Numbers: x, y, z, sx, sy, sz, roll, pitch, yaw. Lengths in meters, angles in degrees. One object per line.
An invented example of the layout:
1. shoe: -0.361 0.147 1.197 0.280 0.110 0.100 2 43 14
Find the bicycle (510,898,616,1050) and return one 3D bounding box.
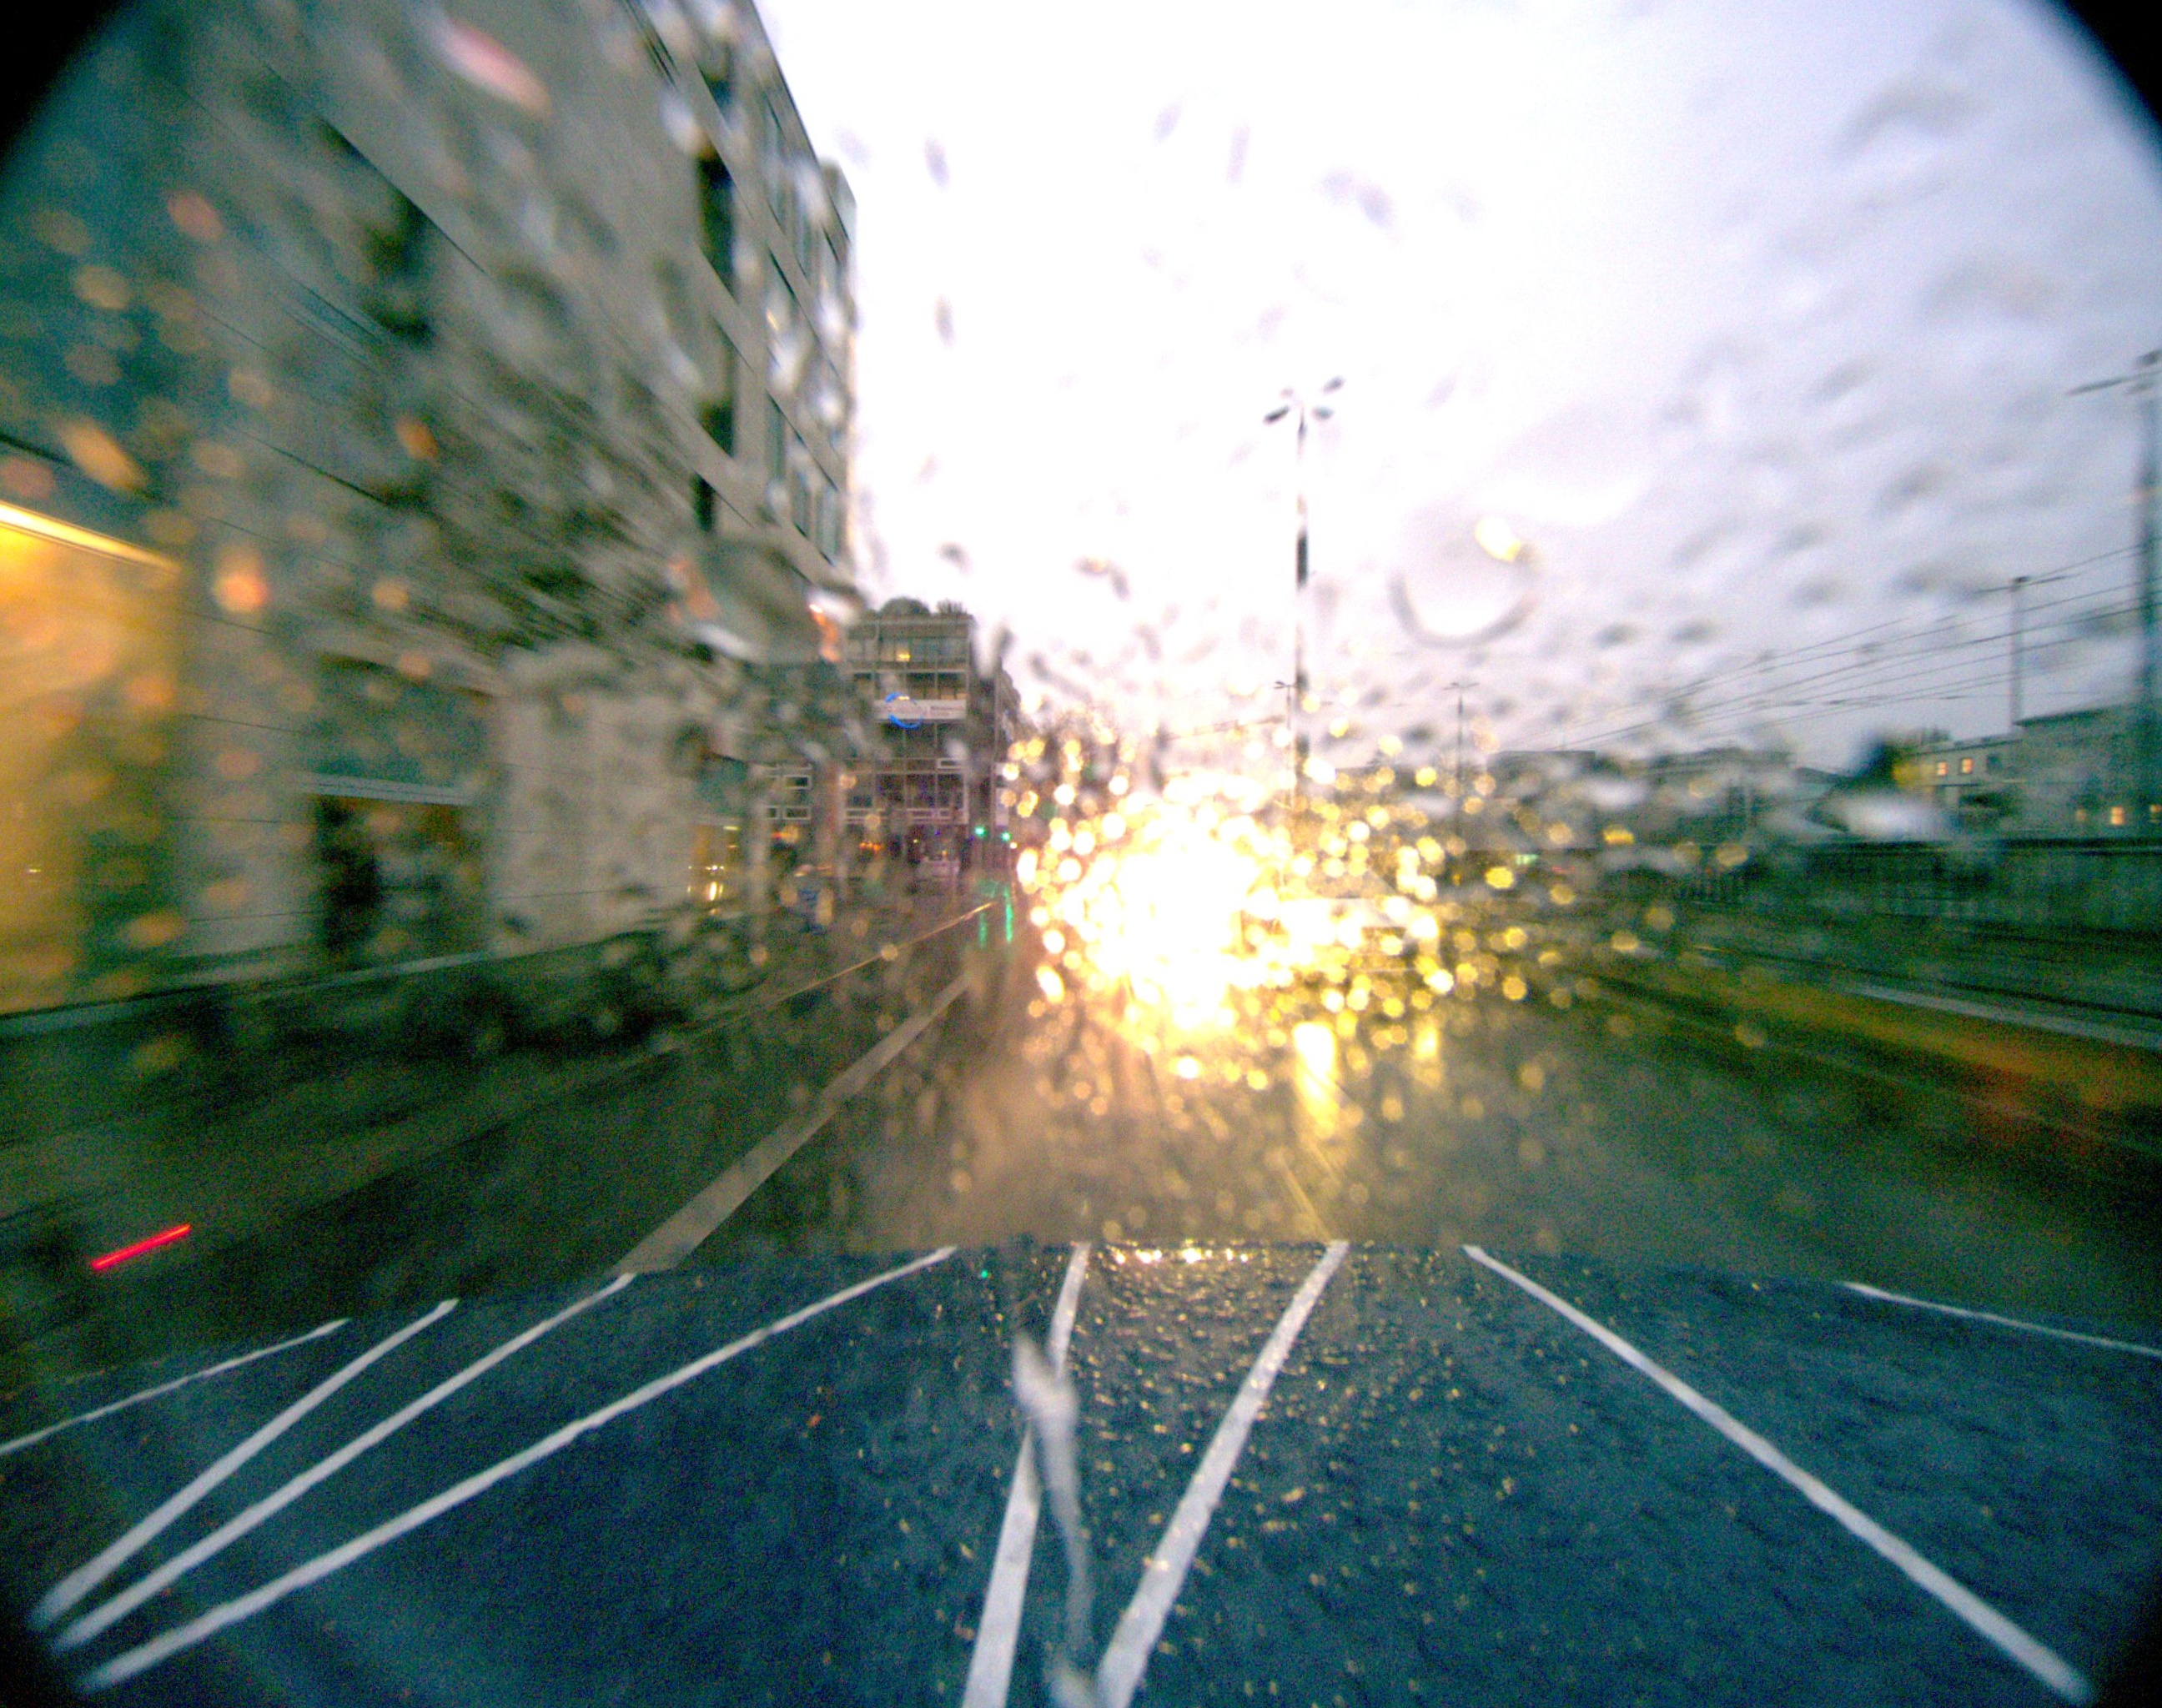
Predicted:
1. bicycle: -5.149 1.107 7.511 0.668 1.254 1.555 -1 1 -41

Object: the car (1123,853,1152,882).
1. car: 4.142 0.961 56.357 1.998 2.002 4.000 0 0 2

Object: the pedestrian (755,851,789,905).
1. pedestrian: -9.280 0.708 22.826 0.779 1.598 0.501 -1 0 2

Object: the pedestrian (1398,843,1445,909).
1. pedestrian: 9.051 0.563 20.220 0.862 1.704 0.763 -1 1 -25

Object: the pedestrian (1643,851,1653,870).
1. pedestrian: 48.697 0.530 65.296 0.655 1.656 0.743 1 1 38

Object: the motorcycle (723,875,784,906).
1. motorcycle: -9.629 1.067 22.368 1.636 0.884 0.395 -1 0 3

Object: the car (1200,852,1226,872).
1. car: 13.053 0.781 75.370 1.952 1.870 4.001 -2 0 3

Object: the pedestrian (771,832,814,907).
1. pedestrian: -8.326 0.442 21.970 0.965 2.149 0.581 0 1 13

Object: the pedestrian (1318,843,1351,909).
1. pedestrian: 6.784 0.577 20.348 0.665 1.725 0.606 0 2 37

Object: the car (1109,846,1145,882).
1. car: 2.501 0.500 41.704 1.865 1.867 4.000 -1 0 2

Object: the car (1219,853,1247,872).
1. car: 13.344 0.735 66.822 1.799 1.521 3.929 -2 0 3

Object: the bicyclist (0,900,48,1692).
1. bicyclist: -2.524 0.824 0.970 0.945 1.454 1.067 -1 1 7

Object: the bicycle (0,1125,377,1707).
1. bicycle: -2.517 1.262 0.993 0.945 0.993 2.241 -1 0 7

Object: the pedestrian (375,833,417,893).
1. pedestrian: -21.837 0.283 24.240 0.626 1.897 0.843 -1 0 34

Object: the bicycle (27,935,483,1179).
1. bicycle: -4.638 1.107 4.351 1.908 1.168 0.667 1 1 1

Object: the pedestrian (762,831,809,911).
1. pedestrian: -8.260 0.466 21.255 0.960 2.179 0.711 0 1 13

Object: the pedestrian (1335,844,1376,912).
1. pedestrian: 7.108 0.616 19.713 0.655 1.708 0.749 -1 1 -25

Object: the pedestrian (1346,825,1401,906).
1. pedestrian: 8.186 0.313 21.262 1.054 2.195 0.956 -1 1 -25

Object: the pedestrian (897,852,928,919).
1. pedestrian: -4.371 0.811 19.718 0.707 1.685 0.723 1 0 -10

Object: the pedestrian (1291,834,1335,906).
1. pedestrian: 7.061 0.467 23.196 0.906 2.133 1.017 -1 1 -10

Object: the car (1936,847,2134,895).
1. car: 34.766 0.559 27.901 1.878 1.607 4.231 -1 0 -2

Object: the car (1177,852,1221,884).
1. car: 6.406 0.726 41.650 1.998 1.673 4.001 -1 0 3

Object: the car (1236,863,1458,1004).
1. car: 3.259 0.880 10.198 1.813 1.464 4.141 -1 0 5

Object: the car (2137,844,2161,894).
1. car: 59.920 0.771 40.396 4.435 2.696 2.001 -1 1 6

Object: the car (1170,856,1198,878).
1. car: 8.237 0.997 61.098 1.867 1.652 3.987 0 0 2
